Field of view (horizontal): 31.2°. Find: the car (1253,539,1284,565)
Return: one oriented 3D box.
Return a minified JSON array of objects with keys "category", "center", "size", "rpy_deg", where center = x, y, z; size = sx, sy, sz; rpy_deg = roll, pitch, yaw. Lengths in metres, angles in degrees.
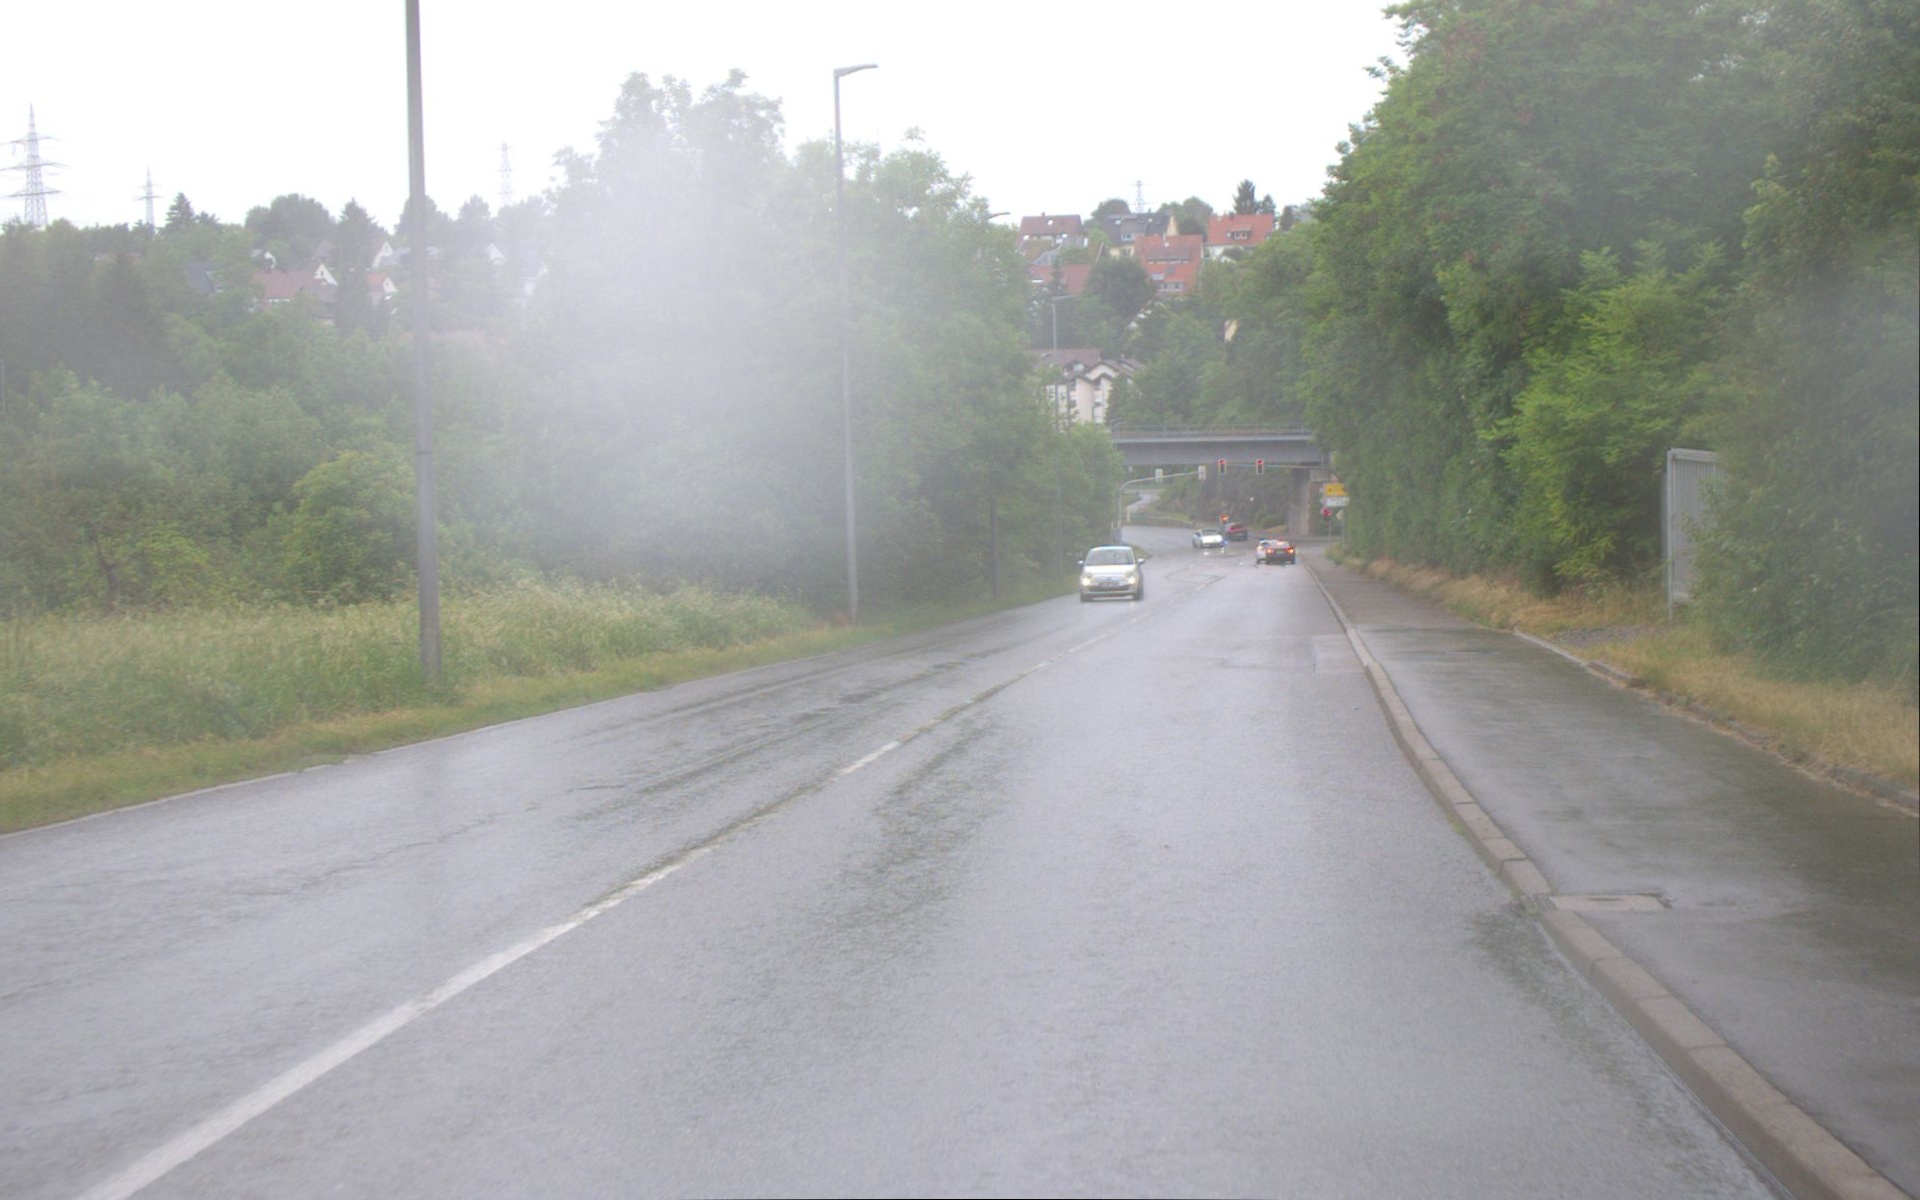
[{"category":"car","center":[19.491,-3.035,217.178],"size":[1.768,1.557,3.999],"rpy_deg":[-2,0,6]}]

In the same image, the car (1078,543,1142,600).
[{"category":"car","center":[4.072,-0.779,93.903],"size":[1.639,1.483,3.454],"rpy_deg":[-2,0,2]}]

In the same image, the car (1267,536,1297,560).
[{"category":"car","center":[19.723,-3.157,210.454],"size":[1.768,1.375,3.999],"rpy_deg":[-2,0,6]}]
